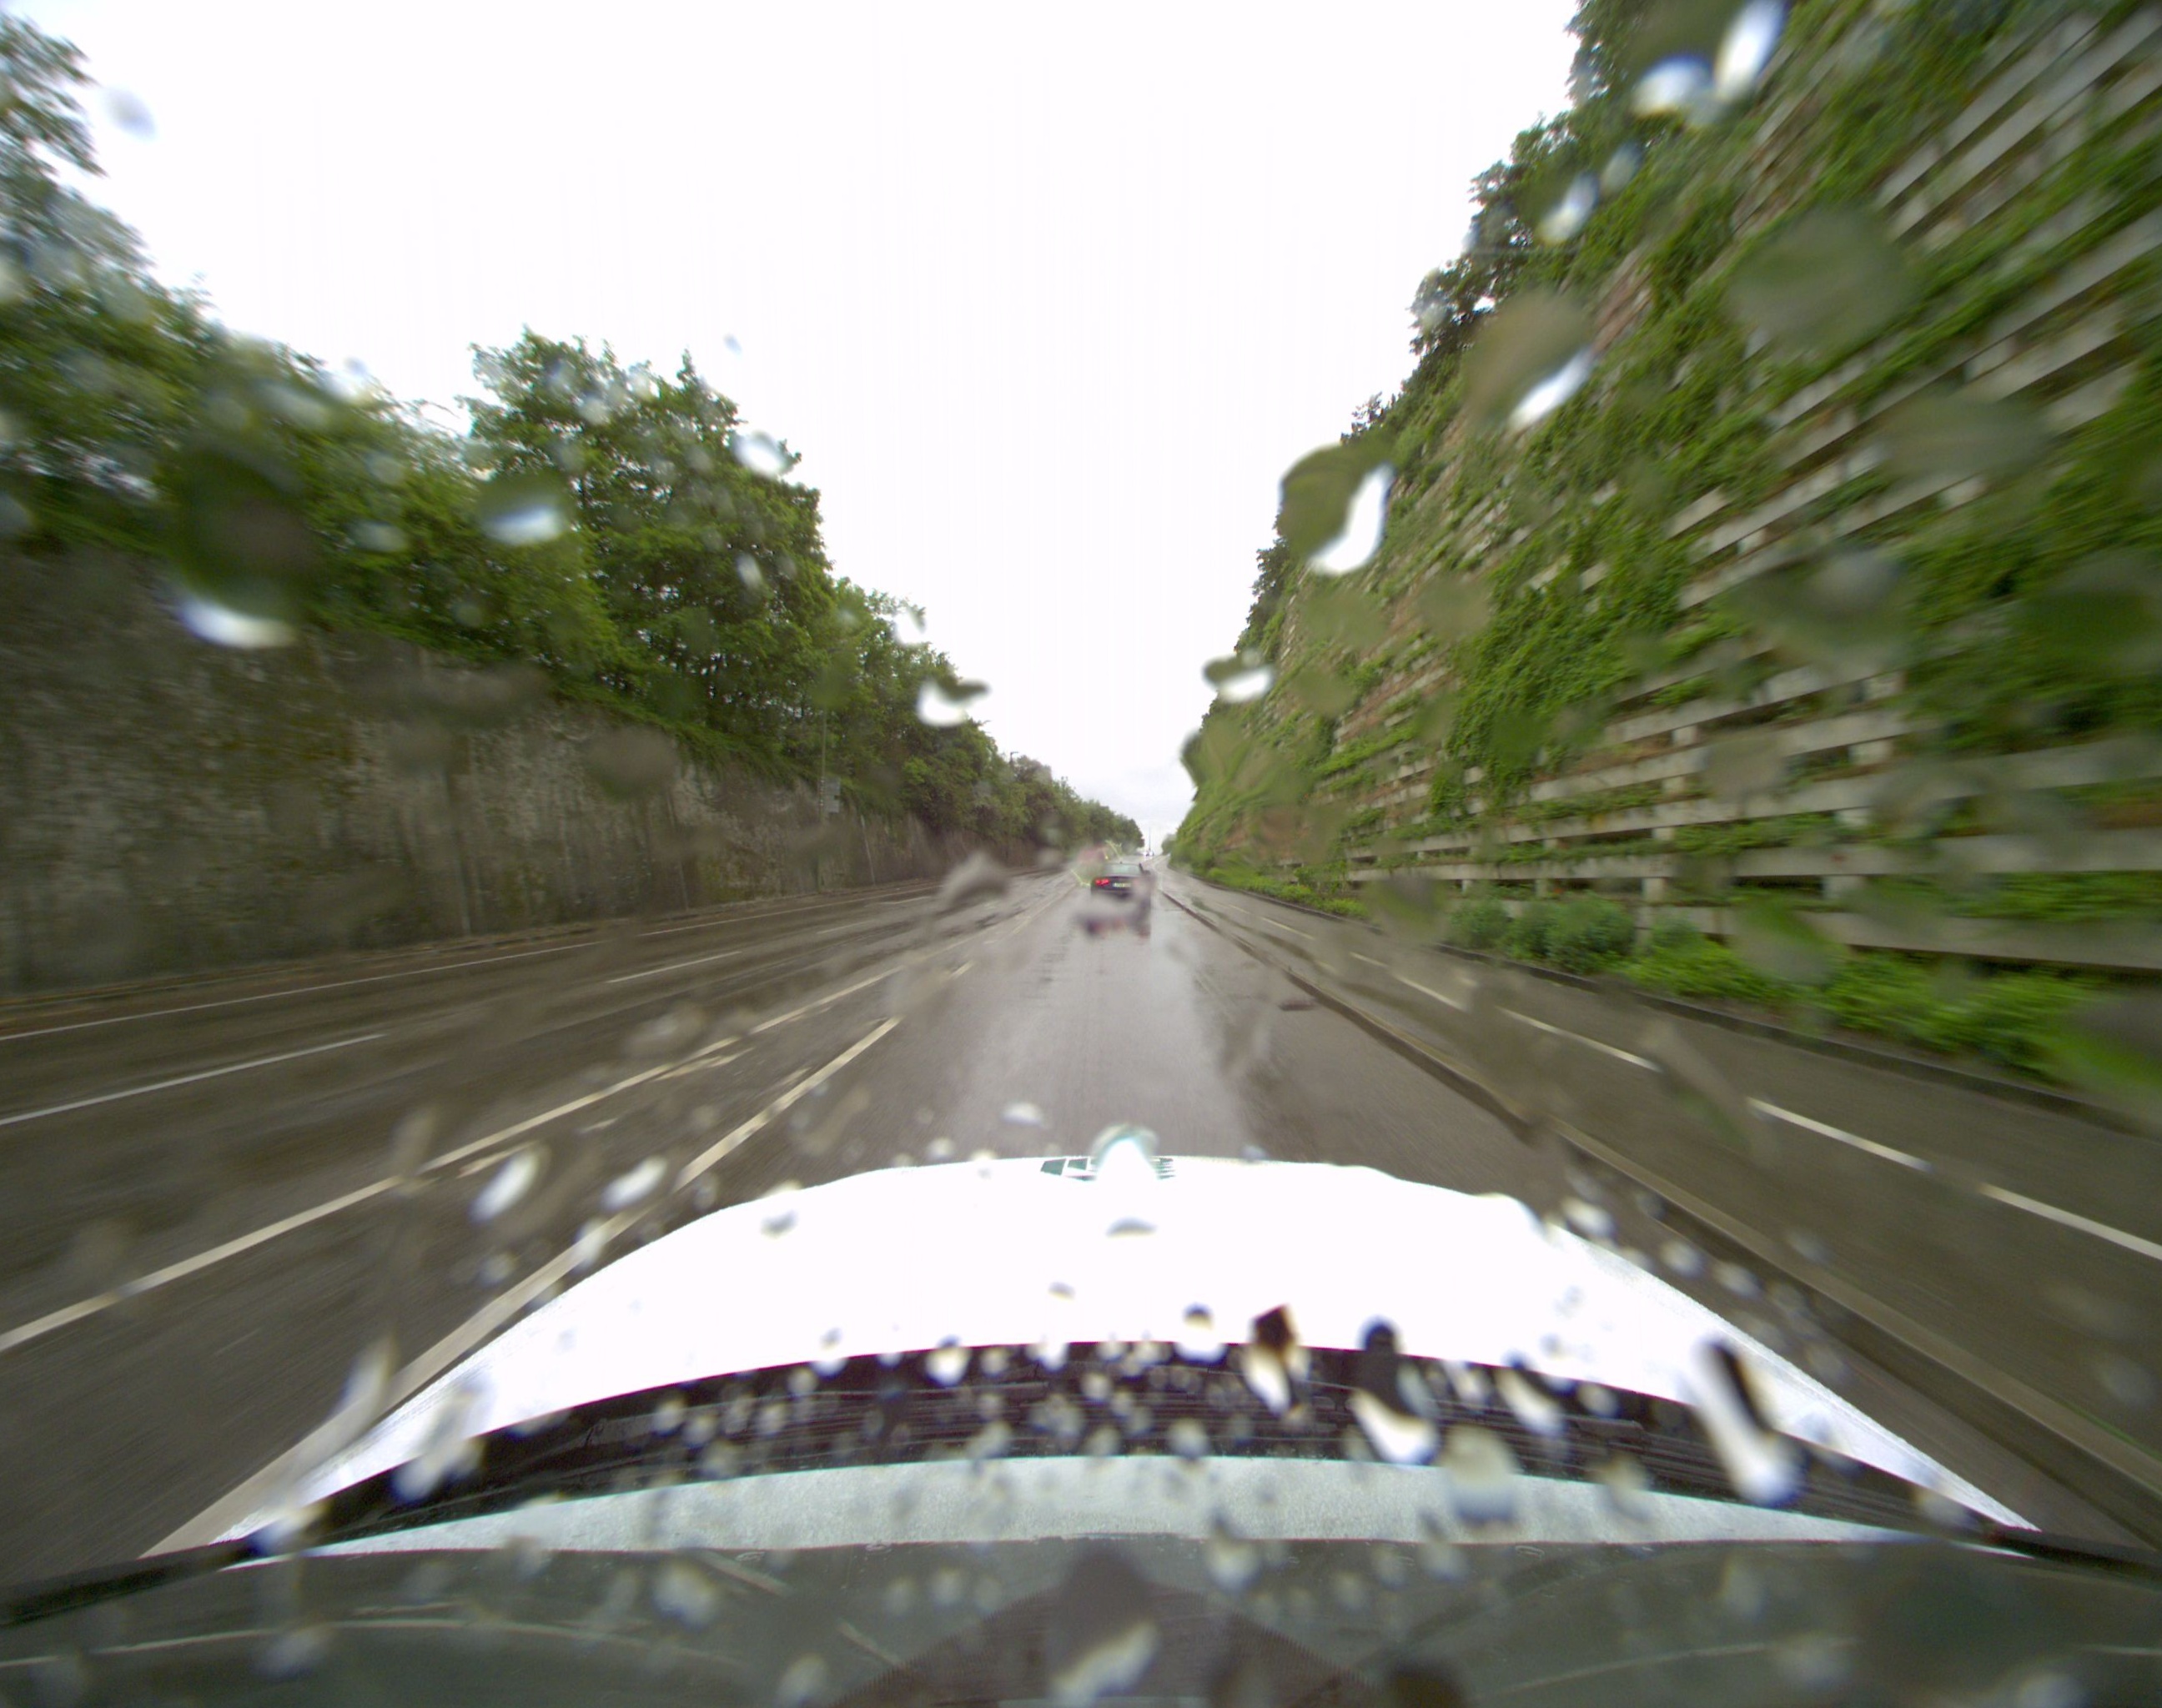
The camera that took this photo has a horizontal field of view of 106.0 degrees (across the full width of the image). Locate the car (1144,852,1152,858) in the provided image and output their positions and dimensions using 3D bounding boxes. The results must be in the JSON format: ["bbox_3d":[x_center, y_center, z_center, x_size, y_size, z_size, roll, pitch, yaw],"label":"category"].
[{"bbox_3d":[15.768,0.247,190.859,1.856,1.449,4.383,-1,0,5],"label":"car"}]

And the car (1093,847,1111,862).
[{"bbox_3d":[2.438,0.073,94.115,1.724,1.618,4.006,0,0,6],"label":"car"}]

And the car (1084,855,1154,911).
[{"bbox_3d":[1.230,0.851,25.006,1.884,1.492,4.212,-2,-1,4],"label":"car"}]
